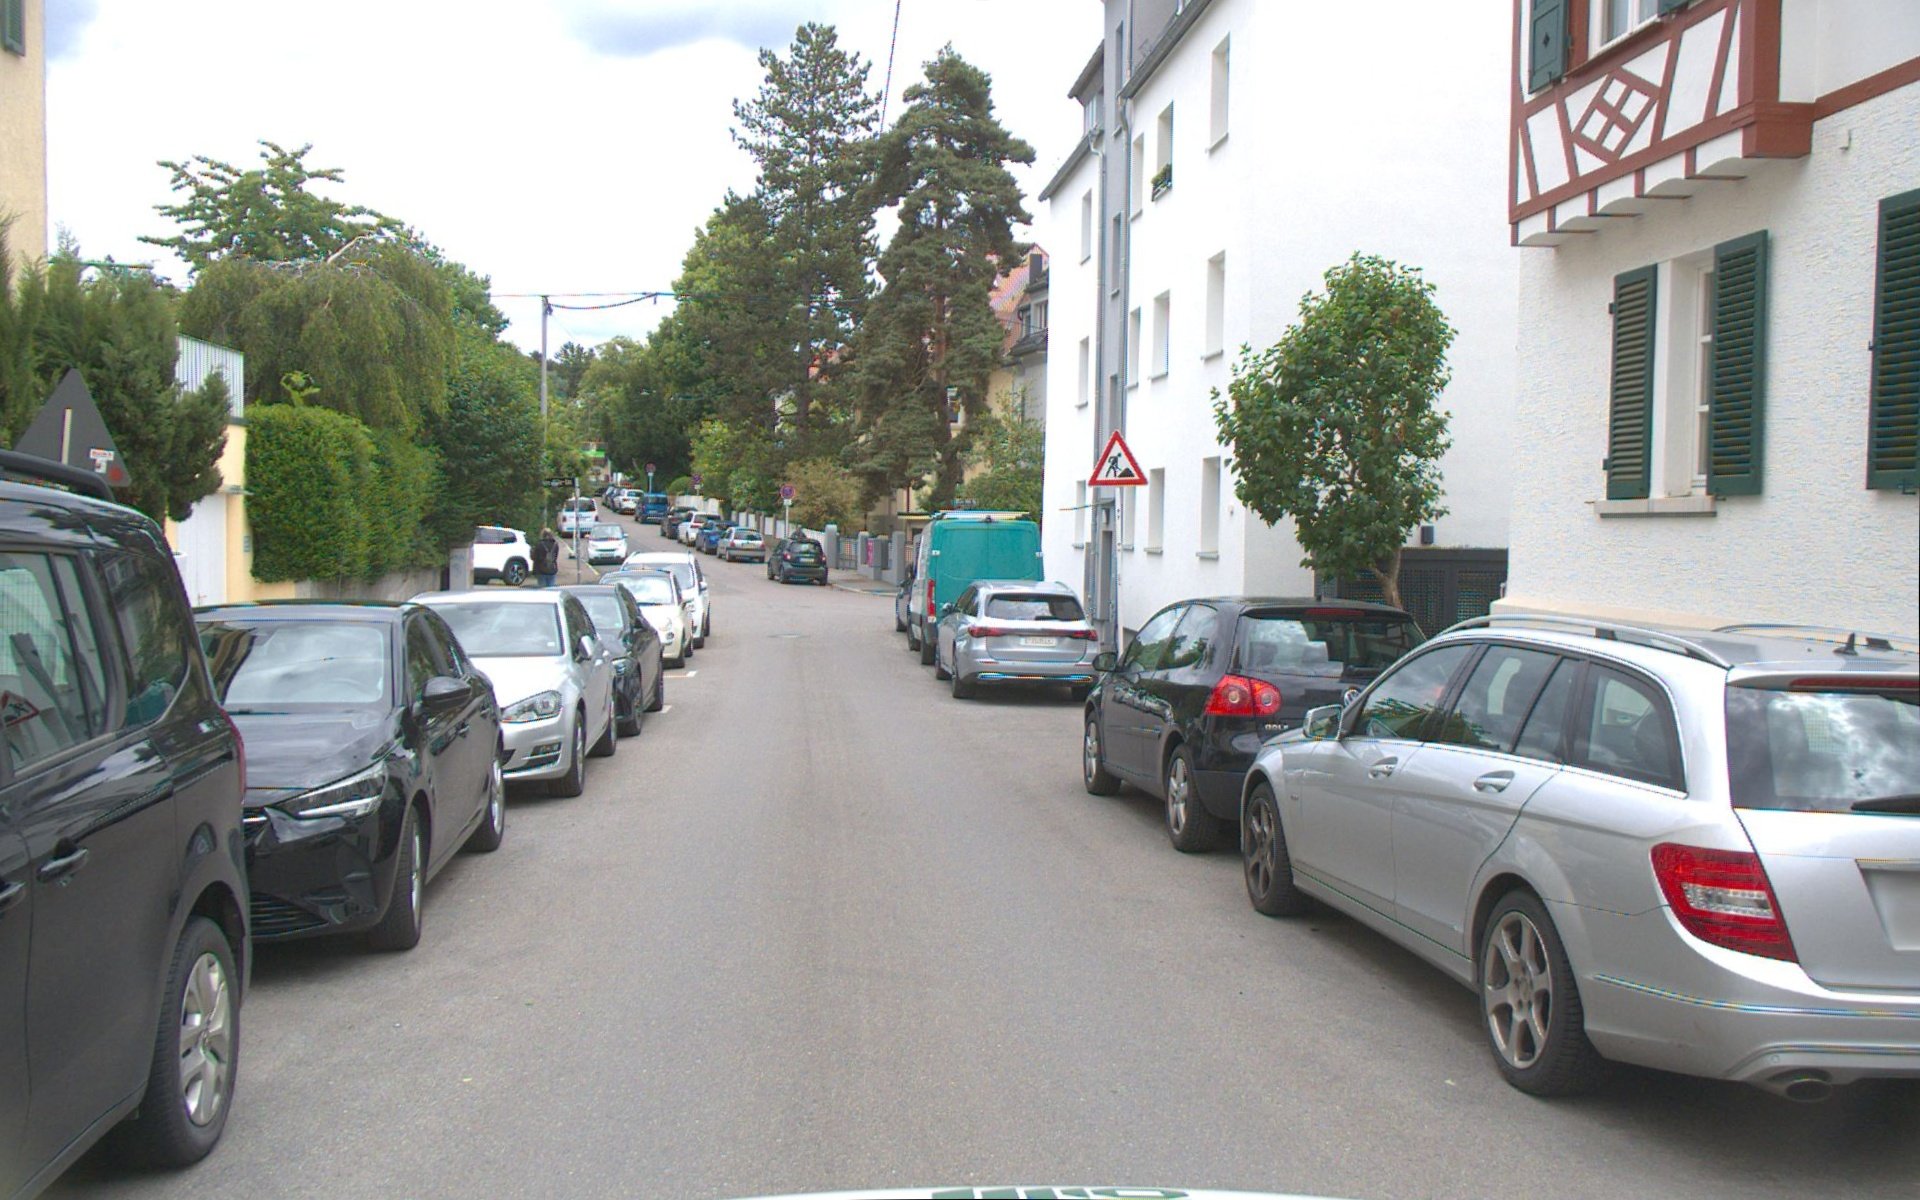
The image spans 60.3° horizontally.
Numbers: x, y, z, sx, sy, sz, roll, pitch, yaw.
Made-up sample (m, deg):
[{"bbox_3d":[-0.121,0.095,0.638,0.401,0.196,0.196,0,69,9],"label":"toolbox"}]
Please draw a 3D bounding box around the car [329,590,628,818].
[{"bbox_3d":[-3.546,0.664,12.838,1.611,1.441,3.977,0,1,-7],"label":"car"}]

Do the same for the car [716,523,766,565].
[{"bbox_3d":[-9.210,-2.373,69.342,1.607,1.509,3.518,2,4,-15],"label":"car"}]

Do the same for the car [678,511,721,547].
[{"bbox_3d":[-12.565,-3.430,79.680,1.607,1.563,3.518,2,4,-15],"label":"car"}]

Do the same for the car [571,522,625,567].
[{"bbox_3d":[-14.486,-2.256,66.128,1.647,1.685,3.843,-1,4,-19],"label":"car"}]

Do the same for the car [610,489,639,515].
[{"bbox_3d":[-22.162,-6.477,109.100,1.607,1.563,3.518,2,4,-15],"label":"car"}]

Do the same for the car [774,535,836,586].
[{"bbox_3d":[-5.466,-1.407,58.059,1.606,1.509,3.519,2,4,-14],"label":"car"}]

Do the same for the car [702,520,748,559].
[{"bbox_3d":[-10.522,-2.723,73.869,1.607,1.509,3.518,2,4,-15],"label":"car"}]

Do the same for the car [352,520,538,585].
[{"bbox_3d":[-14.445,-1.304,46.647,1.960,1.668,4.795,2,1,35],"label":"car"}]

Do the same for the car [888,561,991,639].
[{"bbox_3d":[-0.477,-0.044,34.369,1.692,1.473,3.875,1,2,-7],"label":"car"}]

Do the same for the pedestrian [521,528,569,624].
[{"bbox_3d":[-8.712,-0.496,34.733,0.775,1.966,0.919,2,1,-4],"label":"pedestrian"}]

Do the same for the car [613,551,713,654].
[{"bbox_3d":[-5.560,-0.016,31.309,1.641,1.685,3.858,0,4,-7],"label":"car"}]

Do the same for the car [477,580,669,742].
[{"bbox_3d":[-3.985,0.546,17.552,1.566,1.504,3.985,0,1,-7],"label":"car"}]

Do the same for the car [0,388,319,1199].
[{"bbox_3d":[-2.574,0.563,2.864,1.811,1.847,4.534,0,0,-9],"label":"car"}]

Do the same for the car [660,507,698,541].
[{"bbox_3d":[-14.501,-3.936,85.252,1.607,1.563,3.518,2,4,-15],"label":"car"}]

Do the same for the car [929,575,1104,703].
[{"bbox_3d":[0.652,0.446,21.830,1.692,1.473,3.875,1,2,-7],"label":"car"}]

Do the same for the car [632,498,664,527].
[{"bbox_3d":[-18.690,-5.278,99.073,1.607,1.563,3.518,2,4,-15],"label":"car"}]

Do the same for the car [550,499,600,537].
[{"bbox_3d":[-19.634,-4.200,84.217,1.876,1.908,4.569,-1,4,-20],"label":"car"}]

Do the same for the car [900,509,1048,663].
[{"bbox_3d":[0.145,-0.281,28.163,1.943,2.403,4.271,1,2,-7],"label":"car"}]

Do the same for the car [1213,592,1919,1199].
[{"bbox_3d":[2.476,0.743,6.405,1.784,1.467,4.444,2,1,-7],"label":"car"}]

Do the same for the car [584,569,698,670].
[{"bbox_3d":[-5.122,0.257,26.889,1.566,1.437,3.657,0,2,-7],"label":"car"}]

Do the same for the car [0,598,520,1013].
[{"bbox_3d":[-3.151,0.723,7.828,1.611,1.412,3.852,0,1,-8],"label":"car"}]

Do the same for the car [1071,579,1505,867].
[{"bbox_3d":[1.938,0.657,10.968,1.657,1.546,3.874,2,0,-7],"label":"car"}]
